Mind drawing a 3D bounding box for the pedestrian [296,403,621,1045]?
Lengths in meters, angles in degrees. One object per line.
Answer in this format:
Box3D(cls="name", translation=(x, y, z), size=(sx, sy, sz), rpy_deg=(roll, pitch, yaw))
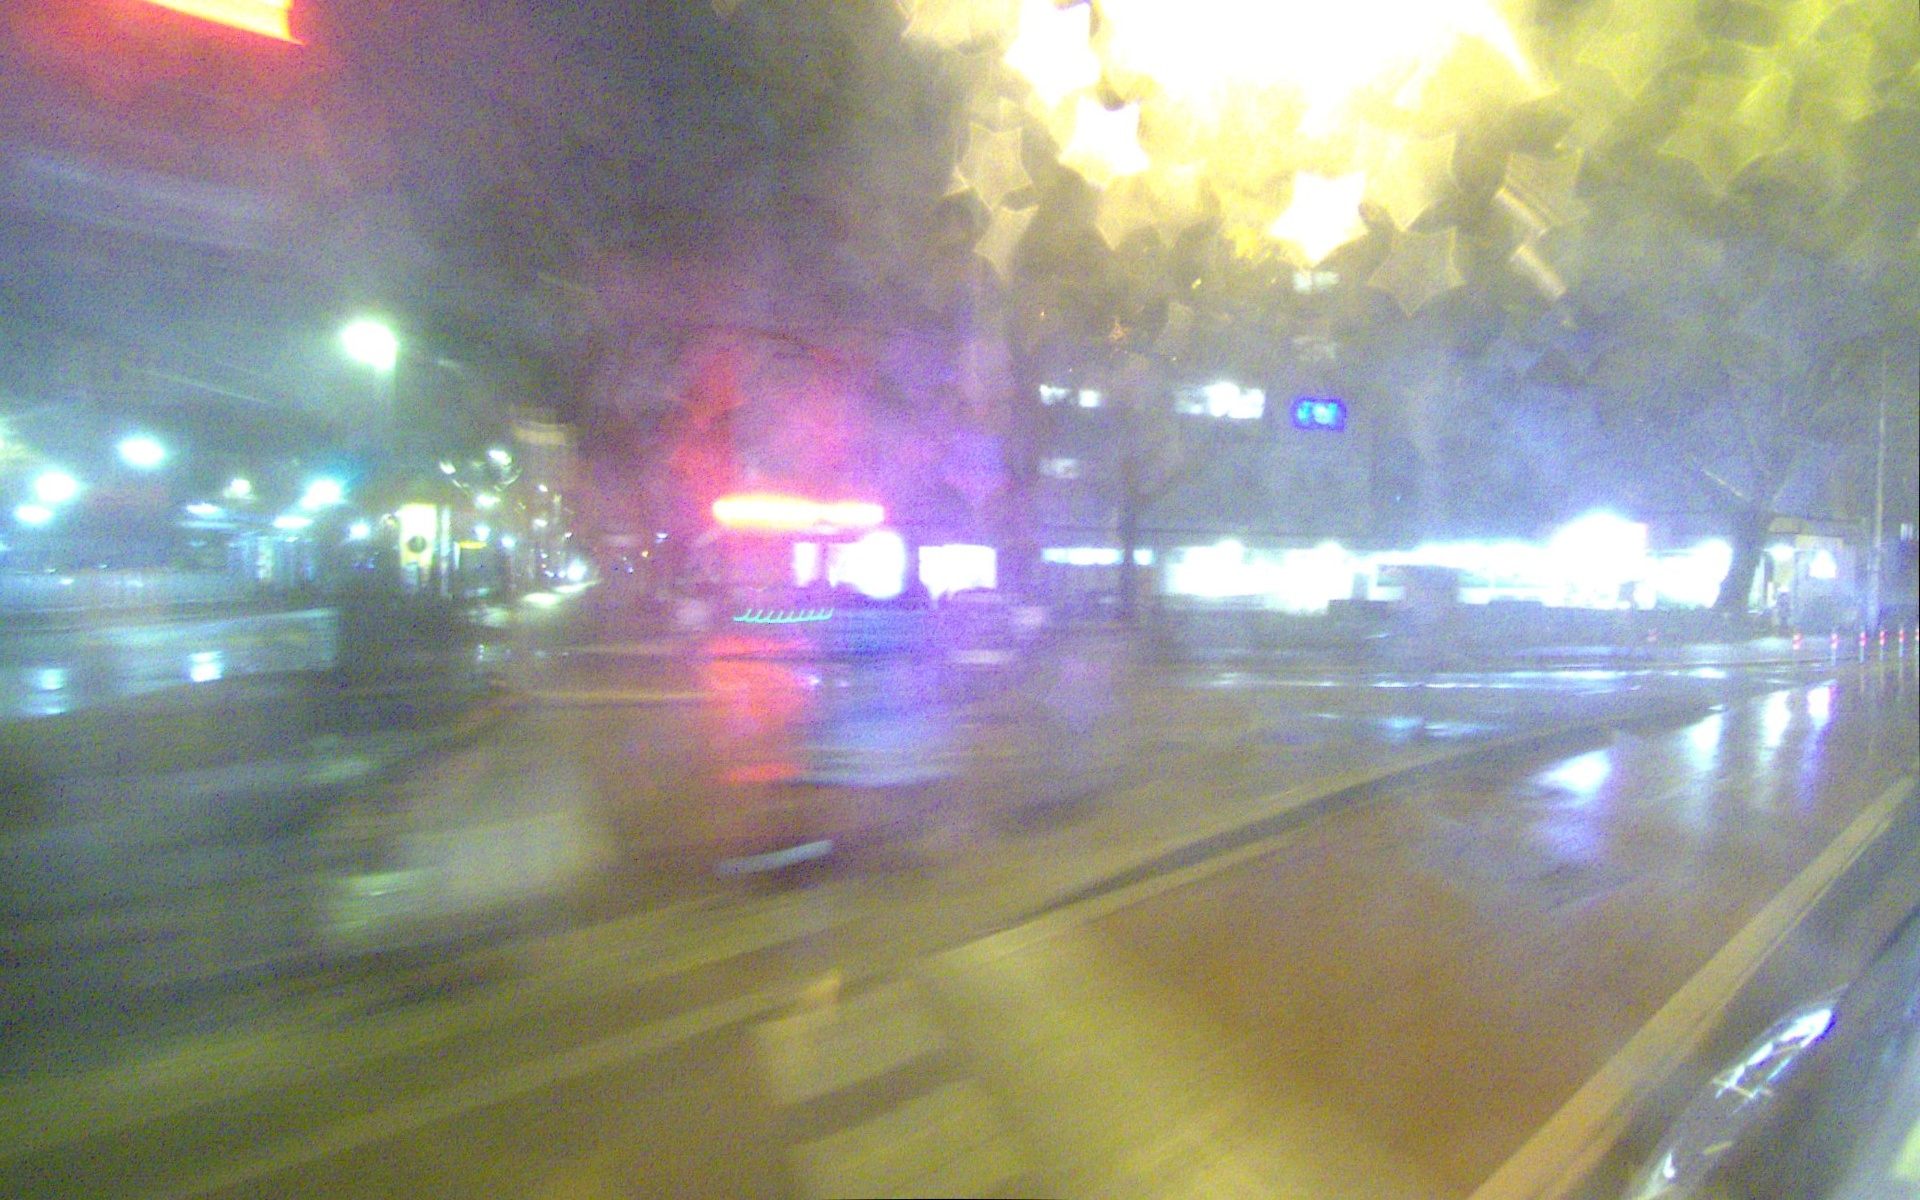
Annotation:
Box3D(cls="pedestrian", translation=(-1.820, 0.343, 3.607), size=(0.835, 1.848, 1.110), rpy_deg=(0, 1, -37))
